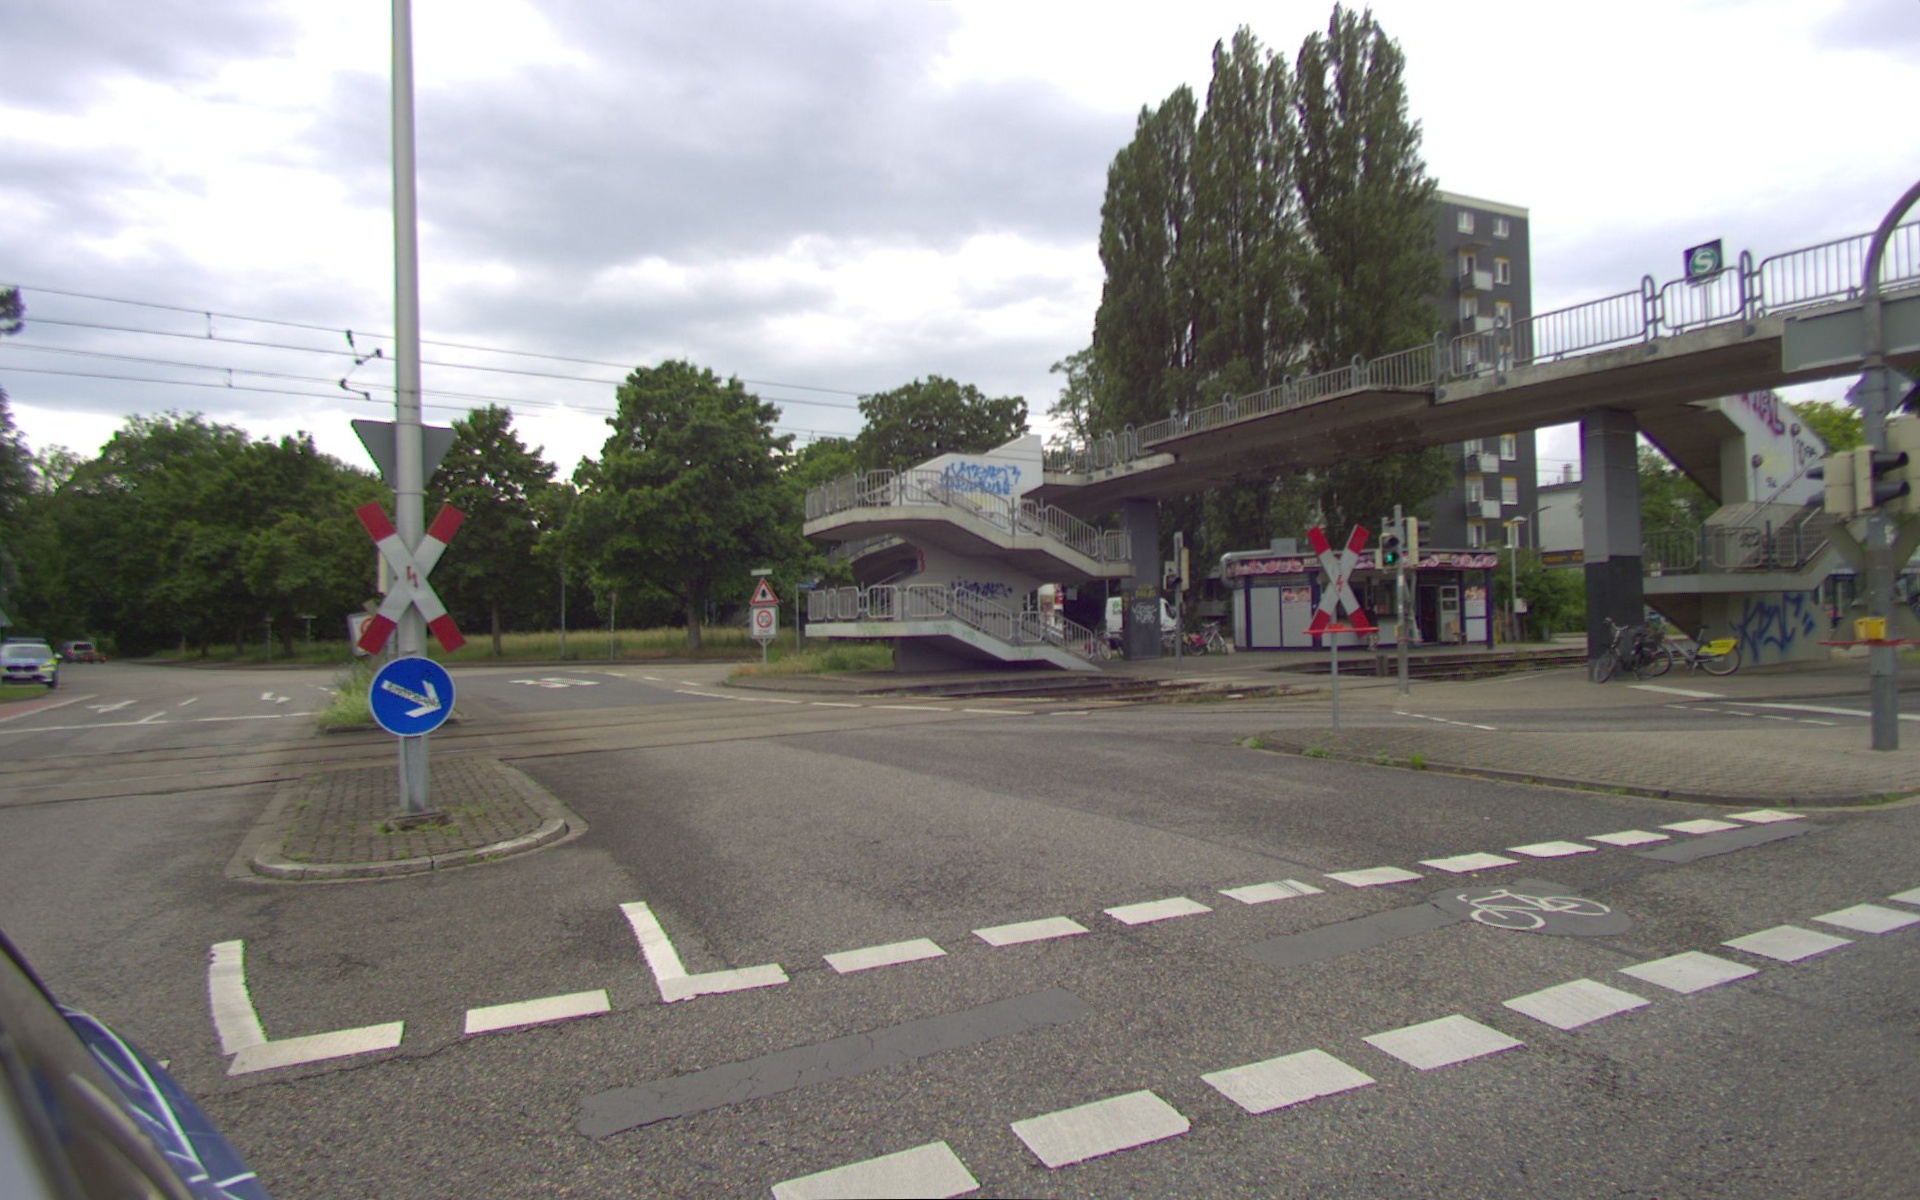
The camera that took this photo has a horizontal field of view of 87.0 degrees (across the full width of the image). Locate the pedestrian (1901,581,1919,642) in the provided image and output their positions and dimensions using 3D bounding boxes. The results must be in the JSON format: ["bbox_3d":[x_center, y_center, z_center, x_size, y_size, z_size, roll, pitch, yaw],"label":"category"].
[{"bbox_3d":[26.245,0.316,27.614,0.652,1.655,0.604,-1,-2,-27],"label":"pedestrian"}]

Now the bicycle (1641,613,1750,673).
[{"bbox_3d":[14.011,0.823,19.322,1.610,1.103,0.347,-2,-2,32],"label":"bicycle"}]

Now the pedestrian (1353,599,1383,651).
[{"bbox_3d":[13.398,0.836,33.250,0.674,1.677,0.544,-1,-2,-26],"label":"pedestrian"}]

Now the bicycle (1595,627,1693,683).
[{"bbox_3d":[12.615,1.002,18.658,2.002,0.928,0.375,-2,-1,-21],"label":"bicycle"}]

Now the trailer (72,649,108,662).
[{"bbox_3d":[-70.248,4.472,81.707,3.459,0.993,1.552,-2,-1,37],"label":"trailer"}]

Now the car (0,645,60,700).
[{"bbox_3d":[-33.822,2.580,36.427,1.908,1.864,4.002,3,-4,-44],"label":"car"}]

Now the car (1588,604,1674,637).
[{"bbox_3d":[34.392,1.068,51.901,3.931,1.572,1.674,-1,-2,-22],"label":"car"}]

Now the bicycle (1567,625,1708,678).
[{"bbox_3d":[12.516,0.937,18.706,2.368,0.895,0.559,-1,-1,-8],"label":"bicycle"}]

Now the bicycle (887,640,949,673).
[{"bbox_3d":[-1.198,1.609,29.002,1.715,0.892,0.395,-1,-2,-8],"label":"bicycle"}]

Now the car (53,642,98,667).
[{"bbox_3d":[-73.362,4.513,83.933,4.216,1.871,2.068,-3,-1,38],"label":"car"}]

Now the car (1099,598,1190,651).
[{"bbox_3d":[8.604,1.133,46.741,2.136,2.310,5.145,-3,-3,35],"label":"car"}]

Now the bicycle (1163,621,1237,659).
[{"bbox_3d":[7.812,1.286,32.876,2.747,1.123,0.993,0,-3,-44],"label":"bicycle"}]
